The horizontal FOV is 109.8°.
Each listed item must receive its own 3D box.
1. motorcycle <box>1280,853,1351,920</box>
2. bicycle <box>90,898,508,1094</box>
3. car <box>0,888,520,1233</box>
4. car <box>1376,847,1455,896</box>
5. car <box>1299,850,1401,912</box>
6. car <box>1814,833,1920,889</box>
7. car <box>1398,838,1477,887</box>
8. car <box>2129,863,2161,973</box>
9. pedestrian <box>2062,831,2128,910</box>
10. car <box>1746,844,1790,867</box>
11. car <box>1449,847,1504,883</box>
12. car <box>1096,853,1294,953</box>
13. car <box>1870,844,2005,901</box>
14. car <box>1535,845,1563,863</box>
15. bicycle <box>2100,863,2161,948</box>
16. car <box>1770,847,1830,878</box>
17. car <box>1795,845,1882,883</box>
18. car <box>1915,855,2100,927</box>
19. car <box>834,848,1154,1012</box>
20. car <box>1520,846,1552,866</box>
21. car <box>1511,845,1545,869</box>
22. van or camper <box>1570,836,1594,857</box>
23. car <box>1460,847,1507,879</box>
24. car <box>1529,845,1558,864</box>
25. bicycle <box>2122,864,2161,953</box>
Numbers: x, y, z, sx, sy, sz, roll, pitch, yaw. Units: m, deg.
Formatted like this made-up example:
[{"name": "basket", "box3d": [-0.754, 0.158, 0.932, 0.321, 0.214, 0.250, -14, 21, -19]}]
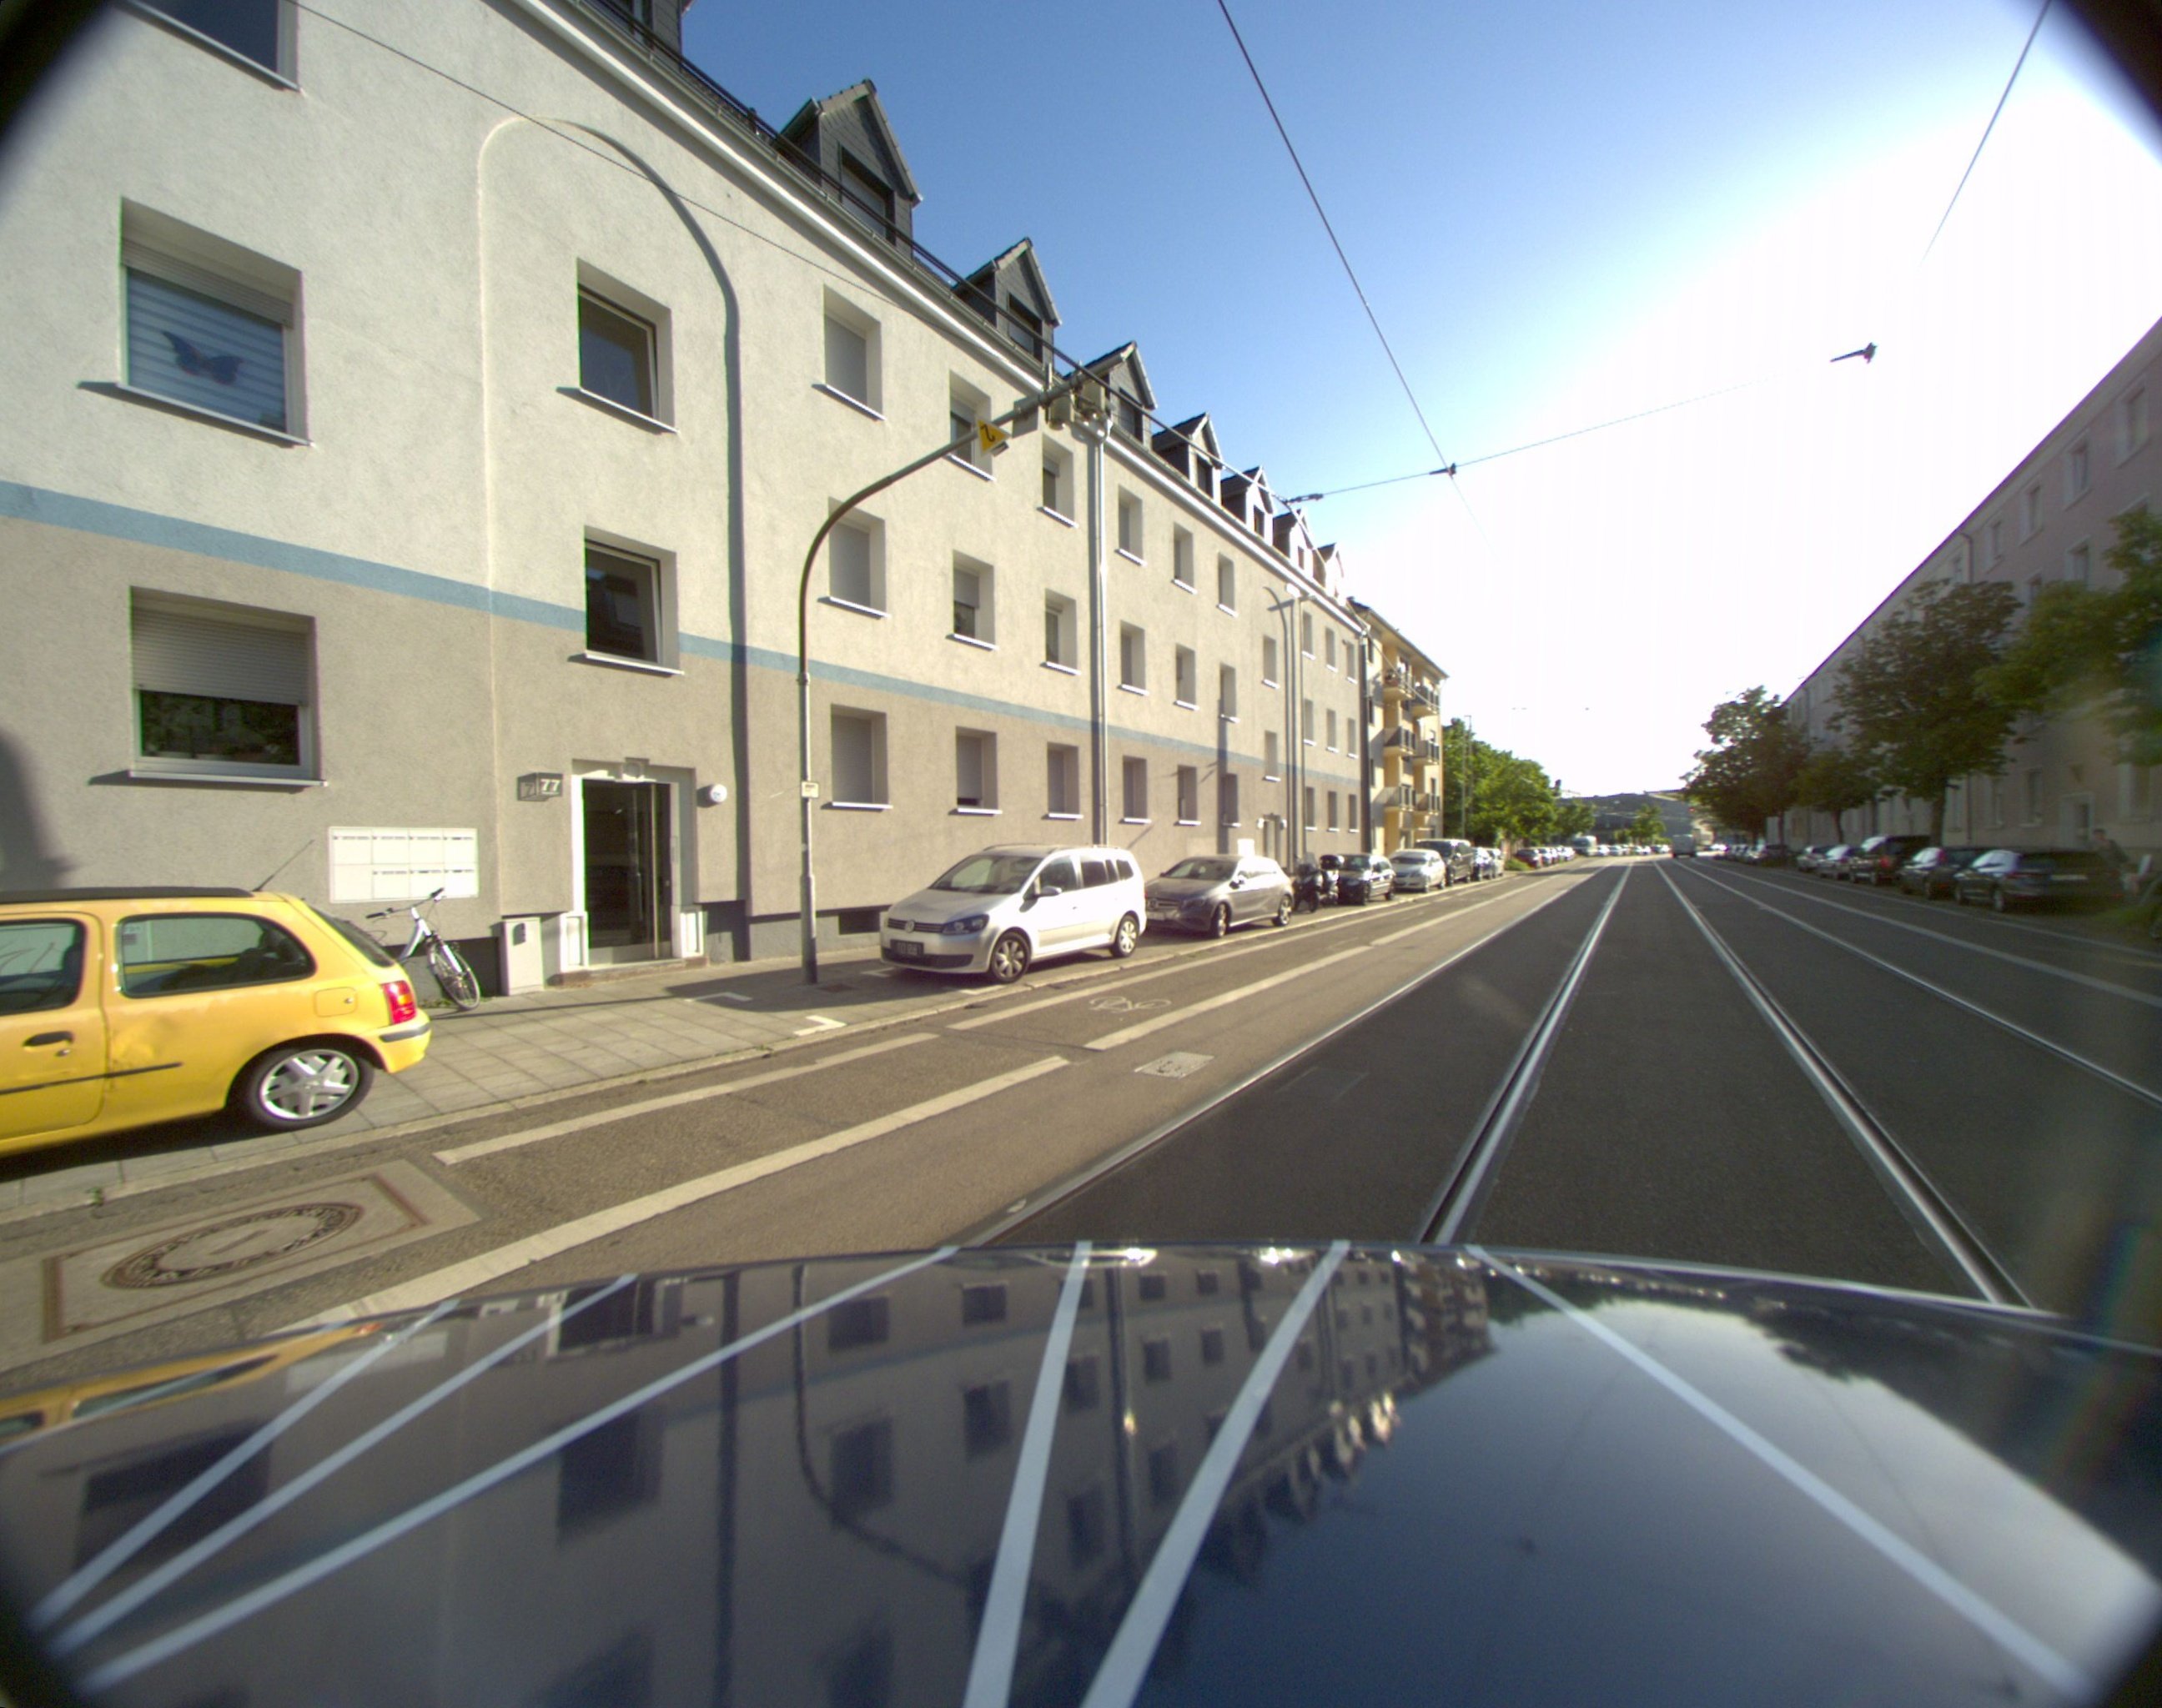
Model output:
[{"name": "motorcycle", "box3d": [5.926, 0.749, 19.085, 0.805, 1.513, 2.714, 2, 2, 37]}, {"name": "bicycle", "box3d": [-6.536, 1.058, 6.526, 1.096, 1.190, 2.332, 0, 1, 35]}, {"name": "car", "box3d": [-5.657, 1.035, 3.862, 1.514, 1.423, 4.209, 1, 2, 36]}, {"name": "car", "box3d": [11.968, 0.566, 27.062, 1.801, 1.562, 3.912, 2, 2, 36]}, {"name": "car", "box3d": [7.888, 0.699, 22.081, 1.609, 1.562, 3.912, 2, 2, 38]}, {"name": "car", "box3d": [29.071, 0.236, 28.255, 1.766, 1.834, 4.432, -3, -1, 34]}, {"name": "car", "box3d": [15.146, 0.285, 32.141, 1.930, 1.910, 5.014, 2, 2, 38]}, {"name": "car", "box3d": [15.141, 0.926, 9.099, 1.766, 1.533, 4.743, 0, 1, 38]}, {"name": "pedestrian", "box3d": [24.294, 0.379, 18.219, 0.693, 1.852, 0.912, 0, 1, 36]}, {"name": "car", "box3d": [49.135, 0.075, 54.401, 1.684, 1.614, 4.056, -1, 1, 33]}, {"name": "car", "box3d": [18.726, 0.471, 35.888, 1.609, 1.562, 4.227, 2, 2, 37]}, {"name": "car", "box3d": [2.343, 0.806, 14.696, 1.864, 1.546, 4.375, 2, 2, 38]}, {"name": "car", "box3d": [24.880, 0.507, 22.247, 1.766, 1.464, 4.189, -4, -1, 37]}, {"name": "car", "box3d": [43.786, -0.023, 71.041, 1.824, 1.562, 4.487, 2, 2, 36]}, {"name": "bicycle", "box3d": [17.875, 0.806, 11.826, 2.293, 1.326, 0.701, -1, 1, 36]}, {"name": "car", "box3d": [37.912, 0.423, 40.151, 1.766, 1.464, 4.762, -1, 0, 37]}, {"name": "car", "box3d": [32.226, 0.389, 32.464, 1.766, 1.464, 4.868, -1, 0, 35]}, {"name": "car", "box3d": [21.923, 0.838, 18.198, 1.766, 1.464, 4.049, -4, -1, 36]}, {"name": "car", "box3d": [-0.887, 0.784, 10.384, 1.755, 1.656, 4.635, 2, 2, 34]}, {"name": "car", "box3d": [37.698, 0.123, 62.885, 1.824, 1.562, 4.487, 2, 2, 36]}, {"name": "car", "box3d": [32.145, 0.177, 54.600, 1.609, 1.562, 4.487, 2, 2, 37]}, {"name": "van or camper", "box3d": [63.010, -0.928, 95.506, 2.086, 2.548, 5.704, -1, 1, 38]}, {"name": "car", "box3d": [21.059, 0.438, 39.695, 1.553, 1.534, 3.639, 2, 2, 37]}, {"name": "car", "box3d": [40.840, 0.001, 66.998, 1.824, 1.562, 4.487, 2, 2, 36]}, {"name": "bicycle", "box3d": [17.434, 0.821, 11.240, 2.293, 1.326, 0.701, -1, 1, 36]}]
